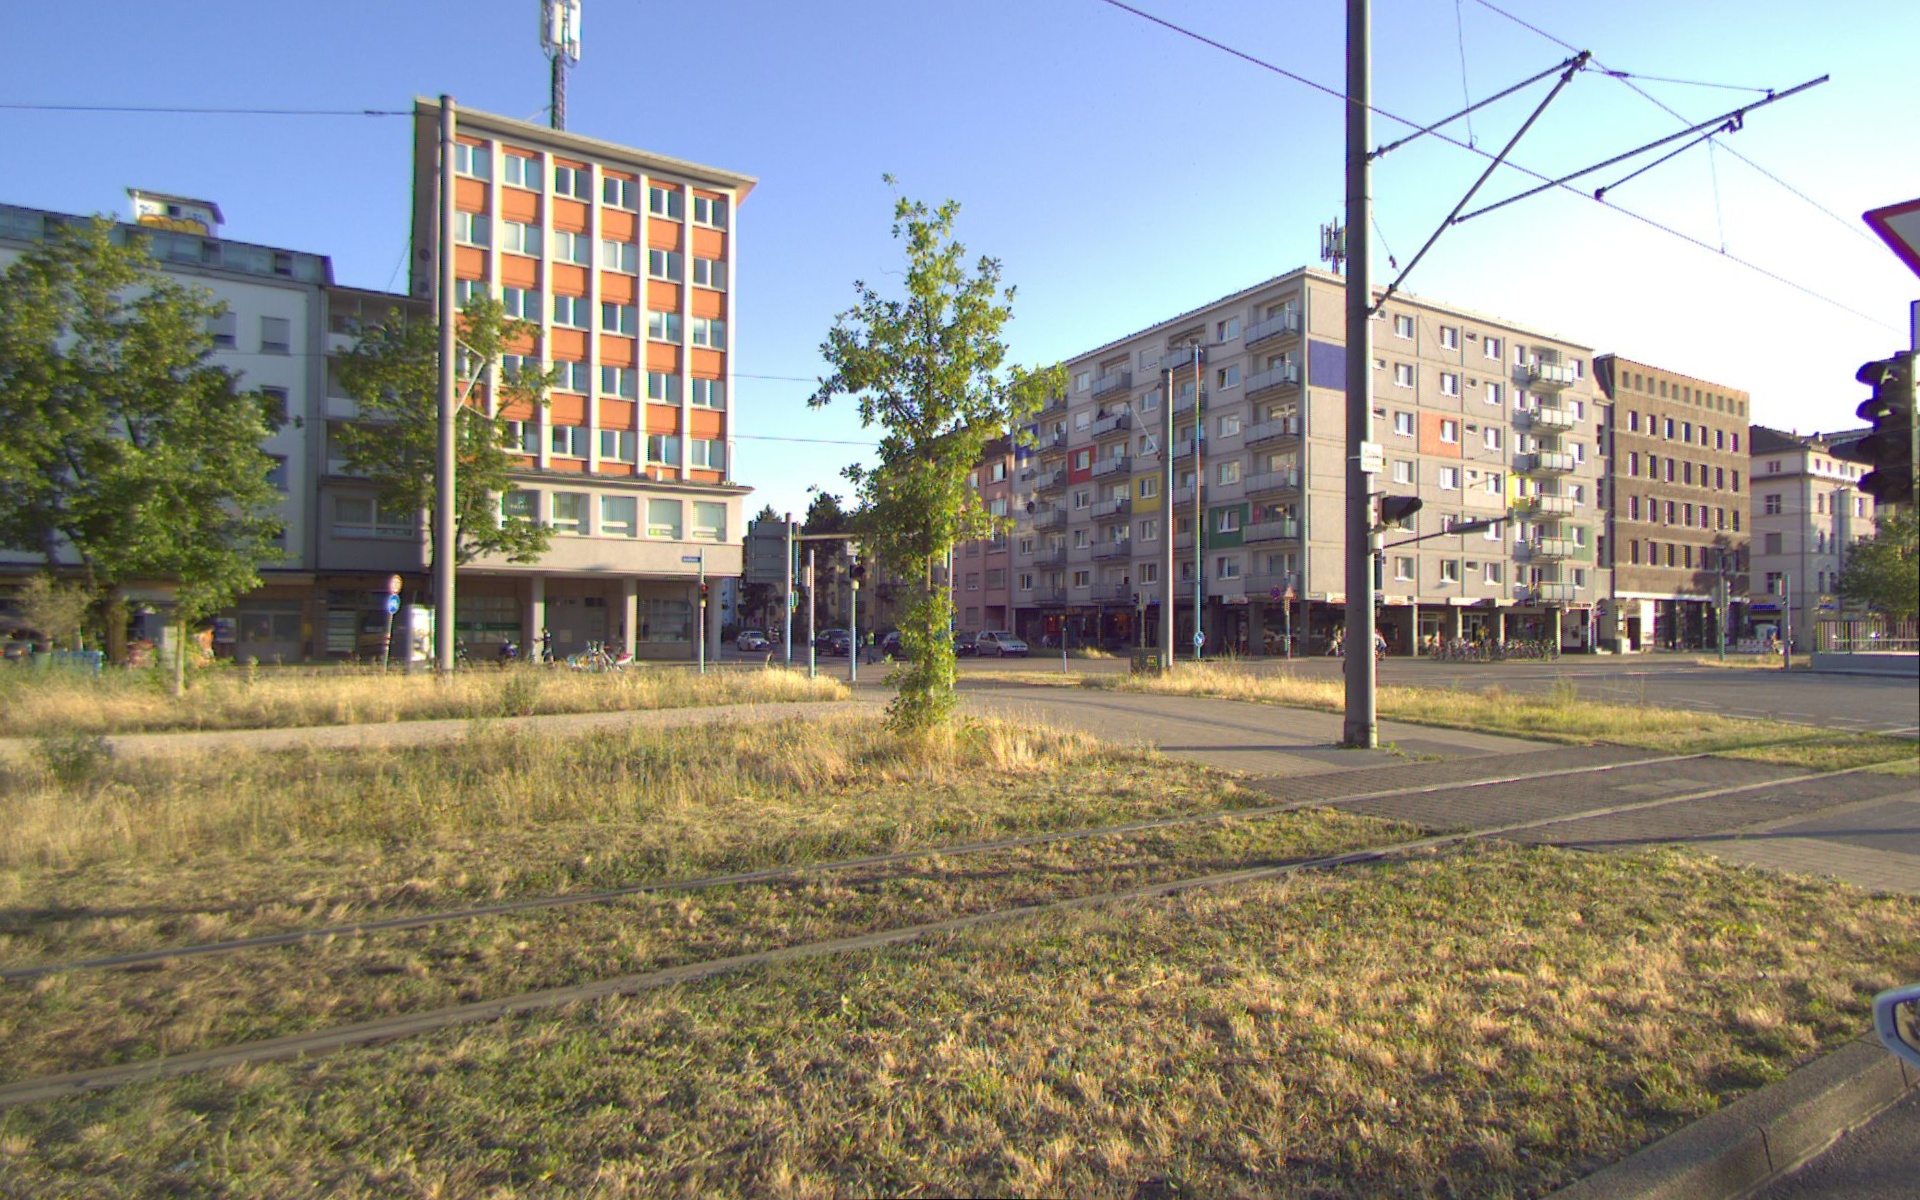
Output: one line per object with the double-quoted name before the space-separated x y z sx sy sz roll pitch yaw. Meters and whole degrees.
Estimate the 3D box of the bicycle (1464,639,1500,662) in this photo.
"bicycle" 28.200 2.740 54.273 0.534 1.183 1.758 1 -1 -29

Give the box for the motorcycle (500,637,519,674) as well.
"motorcycle" -17.020 2.074 37.917 0.538 1.335 1.823 1 -1 -27

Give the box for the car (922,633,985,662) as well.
"car" -0.409 2.595 55.329 1.974 1.505 3.974 3 -3 -26

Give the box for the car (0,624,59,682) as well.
"car" -30.091 1.558 30.232 3.927 1.706 1.997 1 -1 -9

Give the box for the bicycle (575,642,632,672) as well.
"bicycle" -13.300 2.109 37.507 1.972 1.089 0.465 1 -1 -31

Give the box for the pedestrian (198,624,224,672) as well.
"pedestrian" -28.367 1.799 38.032 0.690 1.774 0.646 1 -1 -30

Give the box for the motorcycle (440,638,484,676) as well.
"motorcycle" -17.783 2.020 35.854 1.373 1.335 0.378 1 -1 -28

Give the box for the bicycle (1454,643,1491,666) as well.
"bicycle" 27.628 2.931 54.128 0.592 1.154 1.749 1 -1 -29

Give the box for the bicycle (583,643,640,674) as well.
"bicycle" -12.520 2.099 36.115 1.885 1.089 0.465 1 -1 -31

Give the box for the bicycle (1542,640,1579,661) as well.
"bicycle" 34.551 2.906 57.818 0.739 1.185 1.684 1 -1 -28

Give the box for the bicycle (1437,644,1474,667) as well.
"bicycle" 26.798 3.001 54.362 0.601 1.157 1.768 1 -2 -29

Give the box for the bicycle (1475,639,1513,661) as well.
"bicycle" 29.640 2.779 55.823 0.632 1.176 1.823 1 -2 -29

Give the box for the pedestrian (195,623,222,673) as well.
"pedestrian" -28.030 1.786 37.467 0.696 1.816 0.590 1 -1 -30

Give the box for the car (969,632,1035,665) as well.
"car" 2.288 2.647 55.580 1.974 1.506 3.973 2 1 -26

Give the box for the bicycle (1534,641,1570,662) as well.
"bicycle" 33.865 2.936 57.475 0.739 1.194 1.684 1 -1 -28

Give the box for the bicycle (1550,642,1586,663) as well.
"bicycle" 35.185 3.007 58.161 0.688 1.159 1.684 1 -1 -28

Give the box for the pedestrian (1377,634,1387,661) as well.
"pedestrian" 21.861 2.468 52.032 0.376 1.401 0.394 0 -1 32

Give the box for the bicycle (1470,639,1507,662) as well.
"bicycle" 28.709 2.747 54.576 0.561 1.197 1.761 1 -1 -29

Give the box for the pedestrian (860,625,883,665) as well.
"pedestrian" -4.189 2.109 47.601 0.879 1.855 0.885 1 -1 -20

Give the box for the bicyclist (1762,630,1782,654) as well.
"bicyclist" 50.519 2.611 62.511 0.841 1.445 0.500 0 -1 -5

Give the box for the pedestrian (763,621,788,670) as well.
"pedestrian" -7.564 1.861 41.094 0.708 1.972 0.720 -1 -2 43

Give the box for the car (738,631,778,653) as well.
"car" -15.228 3.146 75.567 1.975 1.551 3.971 1 -2 -28

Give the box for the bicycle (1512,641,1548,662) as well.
"bicycle" 32.047 2.868 56.515 0.561 1.134 1.753 1 -1 -29

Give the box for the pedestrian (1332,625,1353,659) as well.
"pedestrian" 21.089 2.326 55.372 0.728 1.866 0.780 1 -2 -38

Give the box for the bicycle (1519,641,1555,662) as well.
"bicycle" 32.604 2.889 56.802 0.626 1.139 1.720 2 -2 -28

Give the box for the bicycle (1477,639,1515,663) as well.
"bicycle" 29.261 2.777 54.900 0.644 1.206 1.780 1 -2 -30

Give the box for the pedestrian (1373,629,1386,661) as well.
"pedestrian" 21.483 2.300 51.427 0.563 1.641 0.602 0 -1 29

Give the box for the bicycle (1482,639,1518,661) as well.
"bicycle" 30.208 2.808 56.190 0.598 1.174 1.768 1 -2 -29

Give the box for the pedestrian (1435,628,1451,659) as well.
"pedestrian" 26.766 2.401 55.655 0.540 1.706 0.576 1 -1 -30

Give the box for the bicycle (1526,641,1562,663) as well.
"bicycle" 33.211 2.938 57.117 0.696 1.168 1.684 1 -1 -28

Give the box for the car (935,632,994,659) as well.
"car" 0.210 2.663 59.498 1.974 1.505 3.974 1 -2 -26

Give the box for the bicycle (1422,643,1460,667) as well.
"bicycle" 25.810 2.943 53.948 0.631 1.224 1.786 1 -2 -30

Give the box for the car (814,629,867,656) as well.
"car" -7.348 2.586 61.376 1.975 1.551 3.971 1 -1 -28

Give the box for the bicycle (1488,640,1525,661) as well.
"bicycle" 30.743 2.843 56.535 0.598 1.151 1.763 1 -1 -29

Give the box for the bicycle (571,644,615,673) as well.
"bicycle" -14.064 2.246 38.528 1.543 1.089 0.392 1 -1 -31

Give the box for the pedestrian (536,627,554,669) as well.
"pedestrian" -17.836 2.044 43.210 0.623 1.792 0.593 1 -1 -30

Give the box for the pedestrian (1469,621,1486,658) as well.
"pedestrian" 30.833 2.352 59.846 0.783 2.207 0.599 1 -1 -30

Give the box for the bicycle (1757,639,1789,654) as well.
"bicycle" 50.615 2.887 62.516 1.636 0.957 0.509 0 -1 -5

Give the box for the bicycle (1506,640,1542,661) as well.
"bicycle" 31.541 2.834 56.235 0.545 1.132 1.747 1 -1 -29

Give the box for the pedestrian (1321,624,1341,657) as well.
"pedestrian" 20.848 2.250 56.414 0.715 1.837 0.819 2 -1 -40
